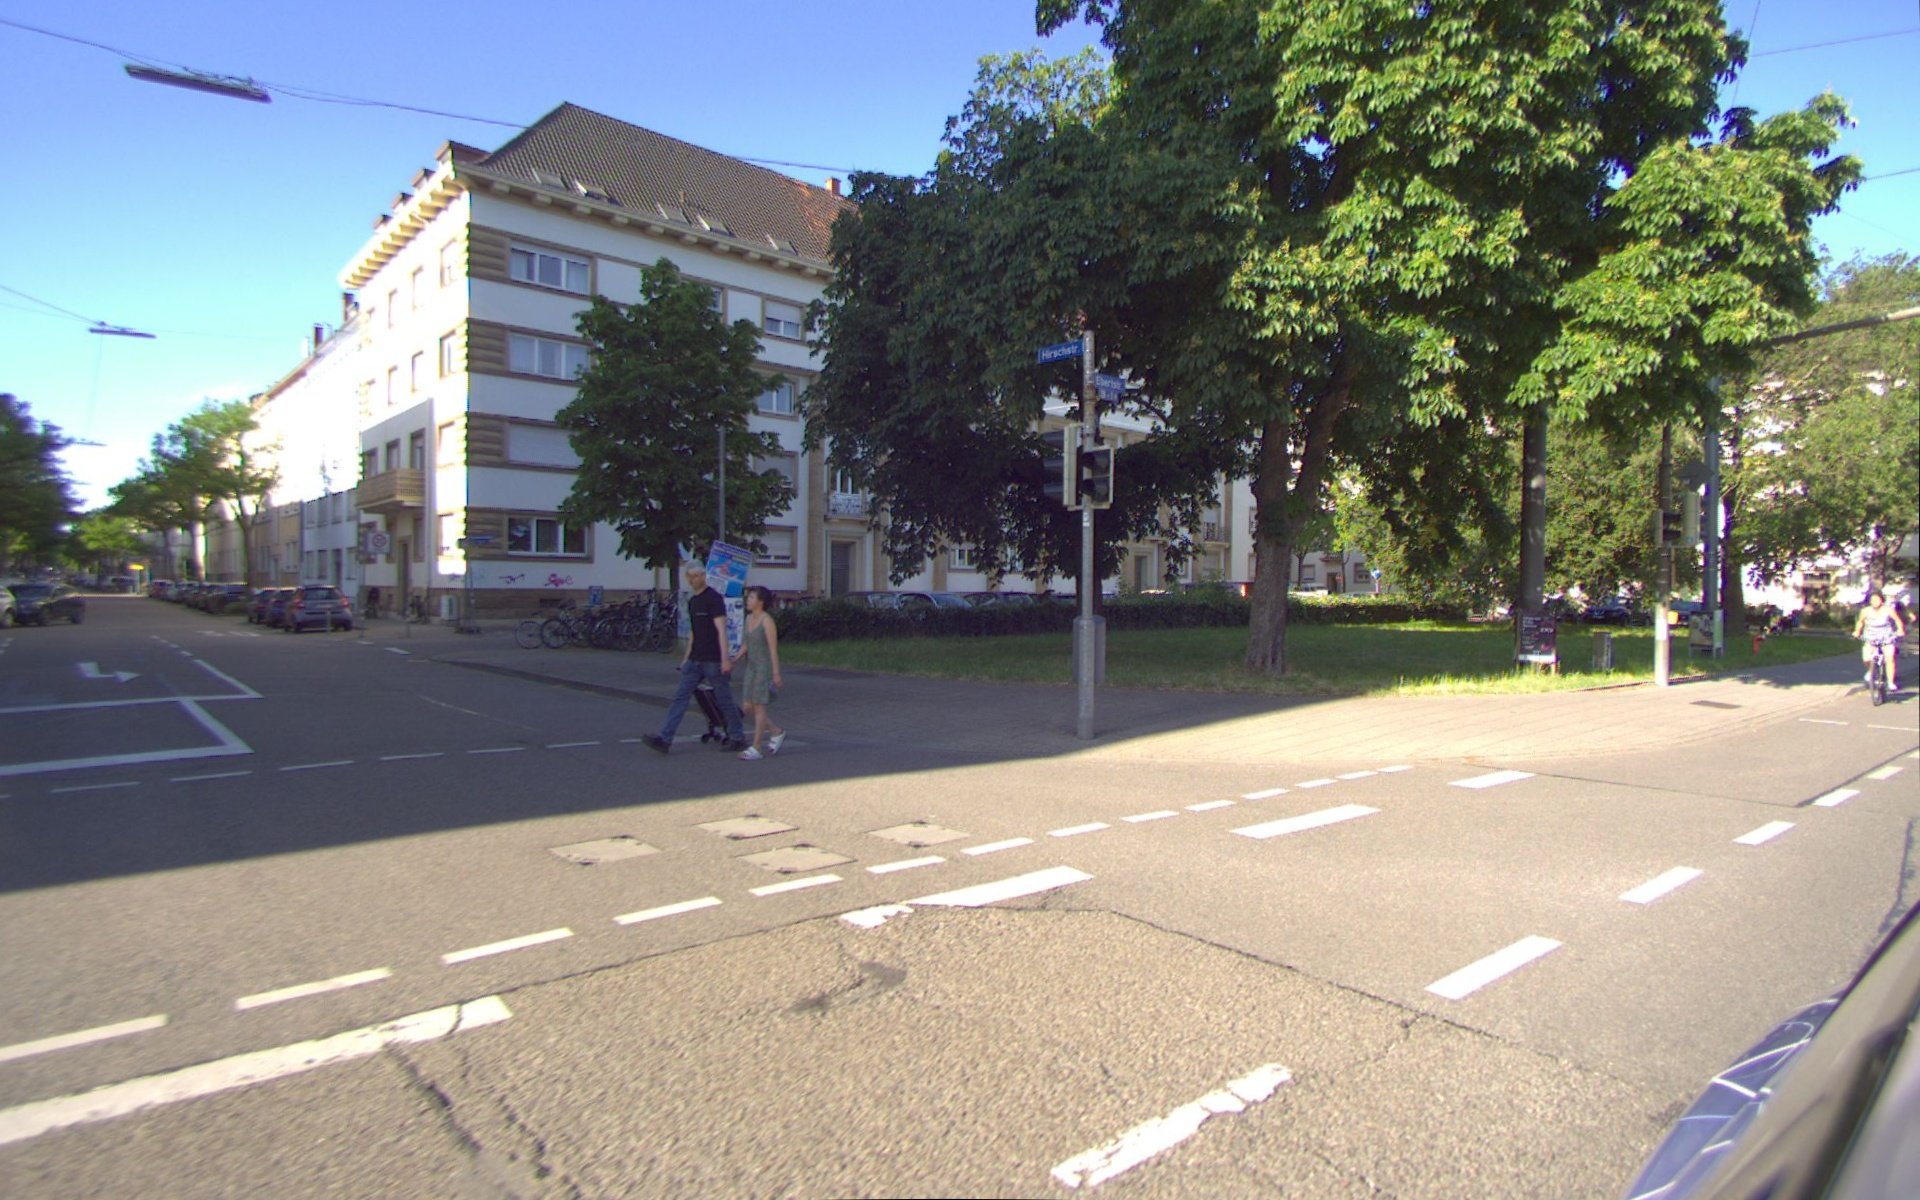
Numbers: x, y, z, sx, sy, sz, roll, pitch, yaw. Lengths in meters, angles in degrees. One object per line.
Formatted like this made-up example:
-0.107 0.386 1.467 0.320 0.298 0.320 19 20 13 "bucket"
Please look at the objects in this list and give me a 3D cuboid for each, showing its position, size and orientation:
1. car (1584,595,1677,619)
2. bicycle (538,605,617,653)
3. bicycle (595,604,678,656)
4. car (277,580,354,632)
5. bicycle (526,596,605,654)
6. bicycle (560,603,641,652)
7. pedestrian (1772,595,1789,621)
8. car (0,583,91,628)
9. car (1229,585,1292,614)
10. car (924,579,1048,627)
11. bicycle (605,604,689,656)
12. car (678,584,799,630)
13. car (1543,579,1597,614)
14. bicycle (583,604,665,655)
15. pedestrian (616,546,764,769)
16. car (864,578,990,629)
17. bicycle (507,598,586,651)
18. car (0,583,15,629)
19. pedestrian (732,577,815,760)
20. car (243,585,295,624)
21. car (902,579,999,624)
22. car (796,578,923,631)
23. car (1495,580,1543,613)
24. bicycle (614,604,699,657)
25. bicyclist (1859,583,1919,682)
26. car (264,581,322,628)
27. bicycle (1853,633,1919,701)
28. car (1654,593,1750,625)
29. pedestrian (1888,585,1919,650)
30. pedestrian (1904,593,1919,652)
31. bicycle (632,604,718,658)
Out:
31.579 0.307 47.652 4.192 1.080 2.002 0 1 -31 "car"
-9.294 0.692 24.651 1.798 1.108 0.365 0 0 -42 "bicycle"
-7.267 0.658 22.811 1.798 1.108 0.365 0 0 -42 "bicycle"
-21.832 0.161 34.231 1.963 1.671 3.999 0 1 -36 "car"
-9.793 0.599 25.189 1.798 1.405 0.432 0 0 -42 "bicycle"
-8.502 0.643 23.977 1.798 1.108 0.365 0 0 -42 "bicycle"
35.212 0.346 43.425 0.602 1.092 0.459 0 0 -41 "pedestrian"
-33.175 0.160 36.065 1.958 1.538 4.231 0 1 -20 "car"
18.349 -0.073 61.792 4.015 1.711 1.903 0 1 -42 "car"
0.788 0.061 33.093 1.964 1.466 3.997 0 1 -38 "car"
-6.932 0.650 22.470 1.798 1.108 0.365 0 0 -42 "bicycle"
-8.087 0.222 37.106 3.931 1.589 1.844 0 1 -42 "car"
30.972 -0.203 51.362 1.988 1.720 4.221 1 1 36 "car"
-7.694 0.659 23.218 1.798 1.108 0.365 0 0 -42 "bicycle"
-2.404 0.454 9.061 0.784 1.850 1.022 2 2 33 "pedestrian"
-1.094 0.071 31.765 1.964 1.466 3.997 0 1 -38 "car"
-10.400 0.602 25.501 1.798 1.302 0.432 0 0 -42 "bicycle"
-31.943 0.217 31.739 1.879 1.526 4.178 0 1 -20 "car"
-1.667 0.583 9.053 0.501 1.565 0.513 2 2 33 "pedestrian"
-28.151 0.144 41.172 1.659 1.512 3.999 0 1 -36 "car"
-0.389 0.027 43.993 3.931 1.867 1.996 0 1 -42 "car"
-3.067 0.094 30.333 1.964 1.466 3.997 0 1 -38 "car"
30.281 -0.194 54.784 1.986 1.720 4.227 1 1 33 "car"
-6.608 0.648 22.108 1.798 1.108 0.365 0 0 -42 "bicycle"
14.545 0.486 15.777 0.919 1.493 0.677 0 0 -41 "bicyclist"
-24.960 0.131 37.826 1.659 1.671 3.999 0 1 -36 "car"
14.496 1.011 15.742 1.705 0.942 0.683 0 1 -41 "bicycle"
33.179 0.375 45.242 4.192 1.340 2.002 0 1 -31 "car"
25.554 0.469 27.376 0.562 1.719 0.589 0 0 32 "pedestrian"
25.286 0.593 26.645 0.593 1.546 0.624 1 0 40 "pedestrian"
-6.074 0.644 21.660 1.798 1.108 0.365 0 0 -42 "bicycle"
